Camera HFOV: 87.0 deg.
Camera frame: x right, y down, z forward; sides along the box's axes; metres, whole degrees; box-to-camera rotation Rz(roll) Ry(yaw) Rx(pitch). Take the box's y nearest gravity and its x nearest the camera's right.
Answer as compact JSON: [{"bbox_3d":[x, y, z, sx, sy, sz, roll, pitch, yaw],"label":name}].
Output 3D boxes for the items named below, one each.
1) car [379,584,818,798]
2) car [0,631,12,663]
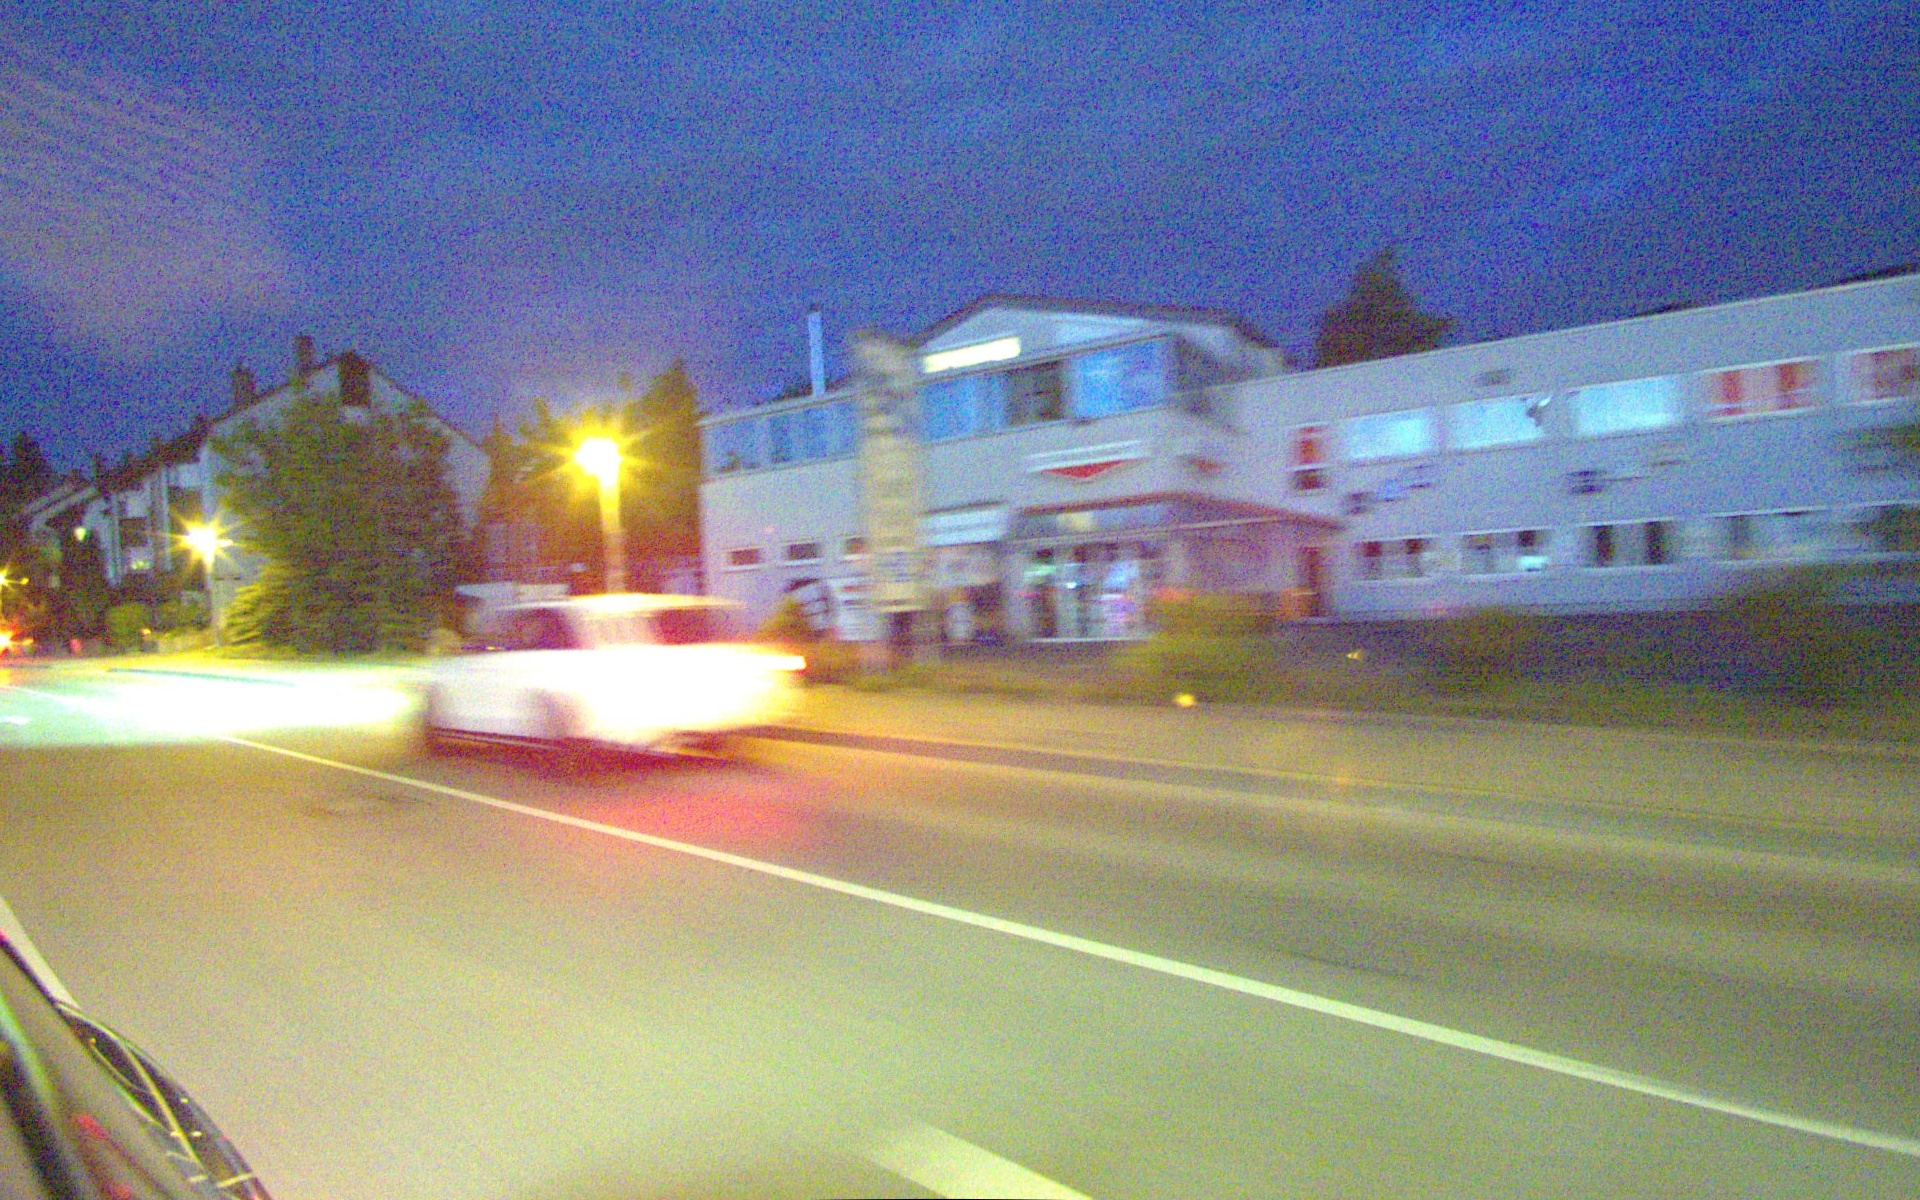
[{"bbox_3d":[-3.803,0.757,10.186,4.748,1.639,1.974,-2,1,40],"label":"car"},{"bbox_3d":[-45.687,2.232,46.644,4.902,1.456,1.834,-2,0,34],"label":"car"}]
